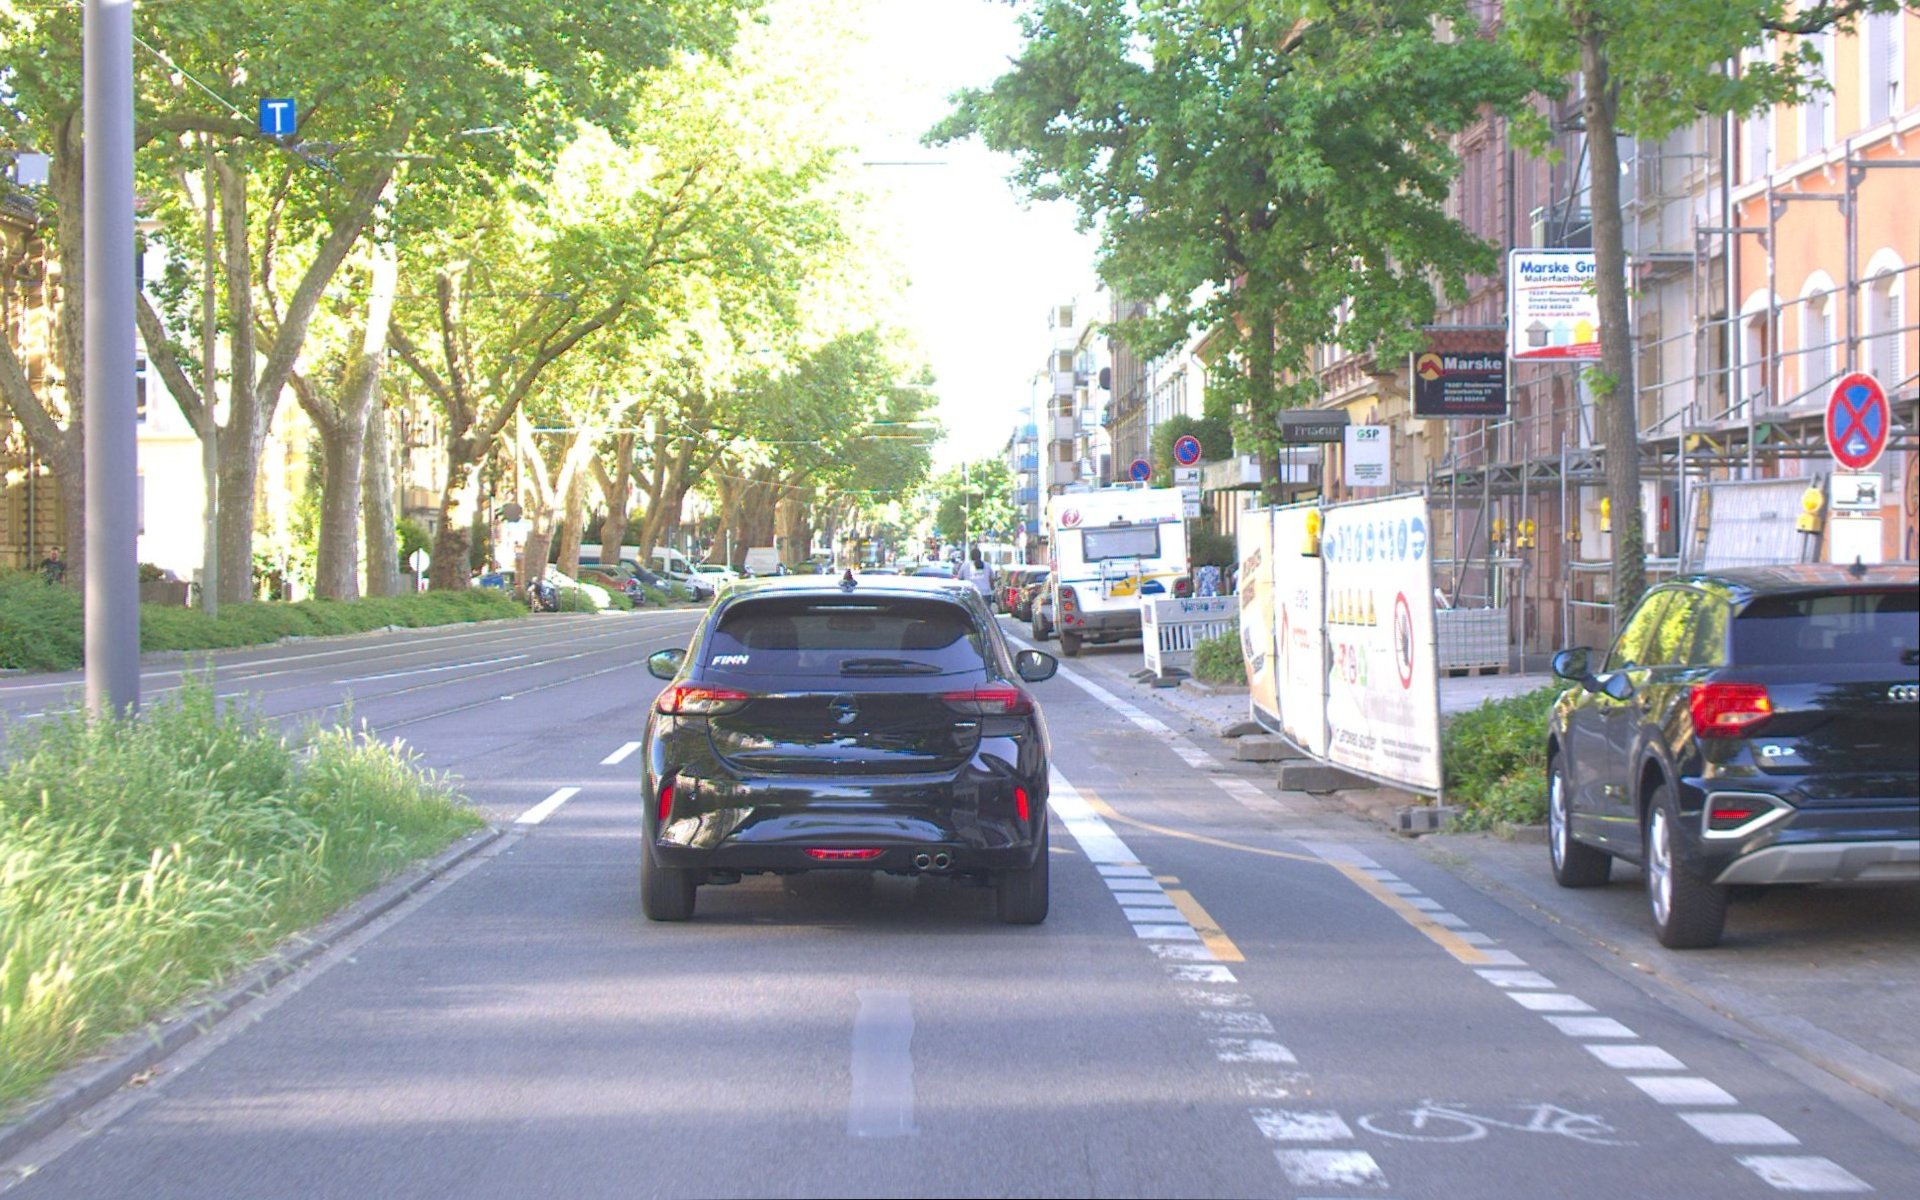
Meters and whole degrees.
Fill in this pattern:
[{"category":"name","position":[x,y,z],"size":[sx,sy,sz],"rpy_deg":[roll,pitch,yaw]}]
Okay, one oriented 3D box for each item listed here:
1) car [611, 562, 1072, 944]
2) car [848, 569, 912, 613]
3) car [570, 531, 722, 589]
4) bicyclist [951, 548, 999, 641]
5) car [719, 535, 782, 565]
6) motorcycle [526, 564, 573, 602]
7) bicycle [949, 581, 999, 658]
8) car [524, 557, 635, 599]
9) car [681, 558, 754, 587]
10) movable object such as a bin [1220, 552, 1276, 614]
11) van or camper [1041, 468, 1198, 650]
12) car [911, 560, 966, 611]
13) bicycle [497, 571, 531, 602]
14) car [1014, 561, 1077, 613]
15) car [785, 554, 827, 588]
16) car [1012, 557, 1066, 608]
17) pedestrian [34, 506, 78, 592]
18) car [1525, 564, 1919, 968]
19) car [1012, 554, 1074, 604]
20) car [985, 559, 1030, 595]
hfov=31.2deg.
[{"category":"car","position":[-0.481,0.582,15.286],"size":[1.794,1.436,3.531],"rpy_deg":[1,1,0]},{"category":"car","position":[-2.486,-0.290,107.754],"size":[1.810,1.334,3.933],"rpy_deg":[1,1,1]},{"category":"car","position":[-14.347,-1.817,157.409],"size":[6.628,2.401,2.458],"rpy_deg":[2,0,0]},{"category":"bicyclist","position":[0.274,-0.114,65.060],"size":[0.848,1.734,1.162],"rpy_deg":[1,0,-1]},{"category":"car","position":[-13.307,-3.180,218.757],"size":[3.919,1.784,1.677],"rpy_deg":[2,0,-3]},{"category":"motorcycle","position":[-12.946,-0.542,108.417],"size":[0.884,1.143,2.390],"rpy_deg":[1,1,8]},{"category":"bicycle","position":[0.257,0.349,65.063],"size":[0.860,1.402,2.524],"rpy_deg":[1,1,-1]},{"category":"car","position":[-14.187,-0.825,128.253],"size":[3.920,1.437,1.749],"rpy_deg":[2,0,0]},{"category":"car","position":[-13.279,-1.510,188.378],"size":[3.919,1.493,1.677],"rpy_deg":[2,0,-3]},{"category":"movable object such as a bin","position":[7.254,-0.431,86.615],"size":[1.293,1.515,1.286],"rpy_deg":[1,0,0]},{"category":"van or camper","position":[2.807,-0.738,62.313],"size":[2.477,2.962,7.884],"rpy_deg":[-3,0,1]},{"category":"car","position":[-0.736,-0.513,120.642],"size":[1.810,1.736,3.933],"rpy_deg":[0,1,1]},{"category":"bicycle","position":[-14.053,-0.427,108.380],"size":[0.541,0.937,2.033],"rpy_deg":[1,1,8]},{"category":"car","position":[2.364,-0.378,95.313],"size":[1.694,1.388,4.494],"rpy_deg":[-1,1,1]},{"category":"car","position":[-7.480,-1.425,167.285],"size":[1.866,1.624,4.560],"rpy_deg":[0,1,0]},{"category":"car","position":[2.456,-0.567,107.419],"size":[1.634,1.541,3.576],"rpy_deg":[-1,1,1]},{"category":"pedestrian","position":[-19.587,-1.101,74.491],"size":[0.719,1.843,0.837],"rpy_deg":[1,0,1]},{"category":"car","position":[3.643,0.605,15.028],"size":[1.763,1.478,4.109],"rpy_deg":[-1,1,2]},{"category":"car","position":[2.841,-0.718,118.238],"size":[1.880,1.580,3.933],"rpy_deg":[-3,0,-1]},{"category":"car","position":[2.048,-0.993,147.478],"size":[1.705,1.451,3.697],"rpy_deg":[-3,0,3]}]
